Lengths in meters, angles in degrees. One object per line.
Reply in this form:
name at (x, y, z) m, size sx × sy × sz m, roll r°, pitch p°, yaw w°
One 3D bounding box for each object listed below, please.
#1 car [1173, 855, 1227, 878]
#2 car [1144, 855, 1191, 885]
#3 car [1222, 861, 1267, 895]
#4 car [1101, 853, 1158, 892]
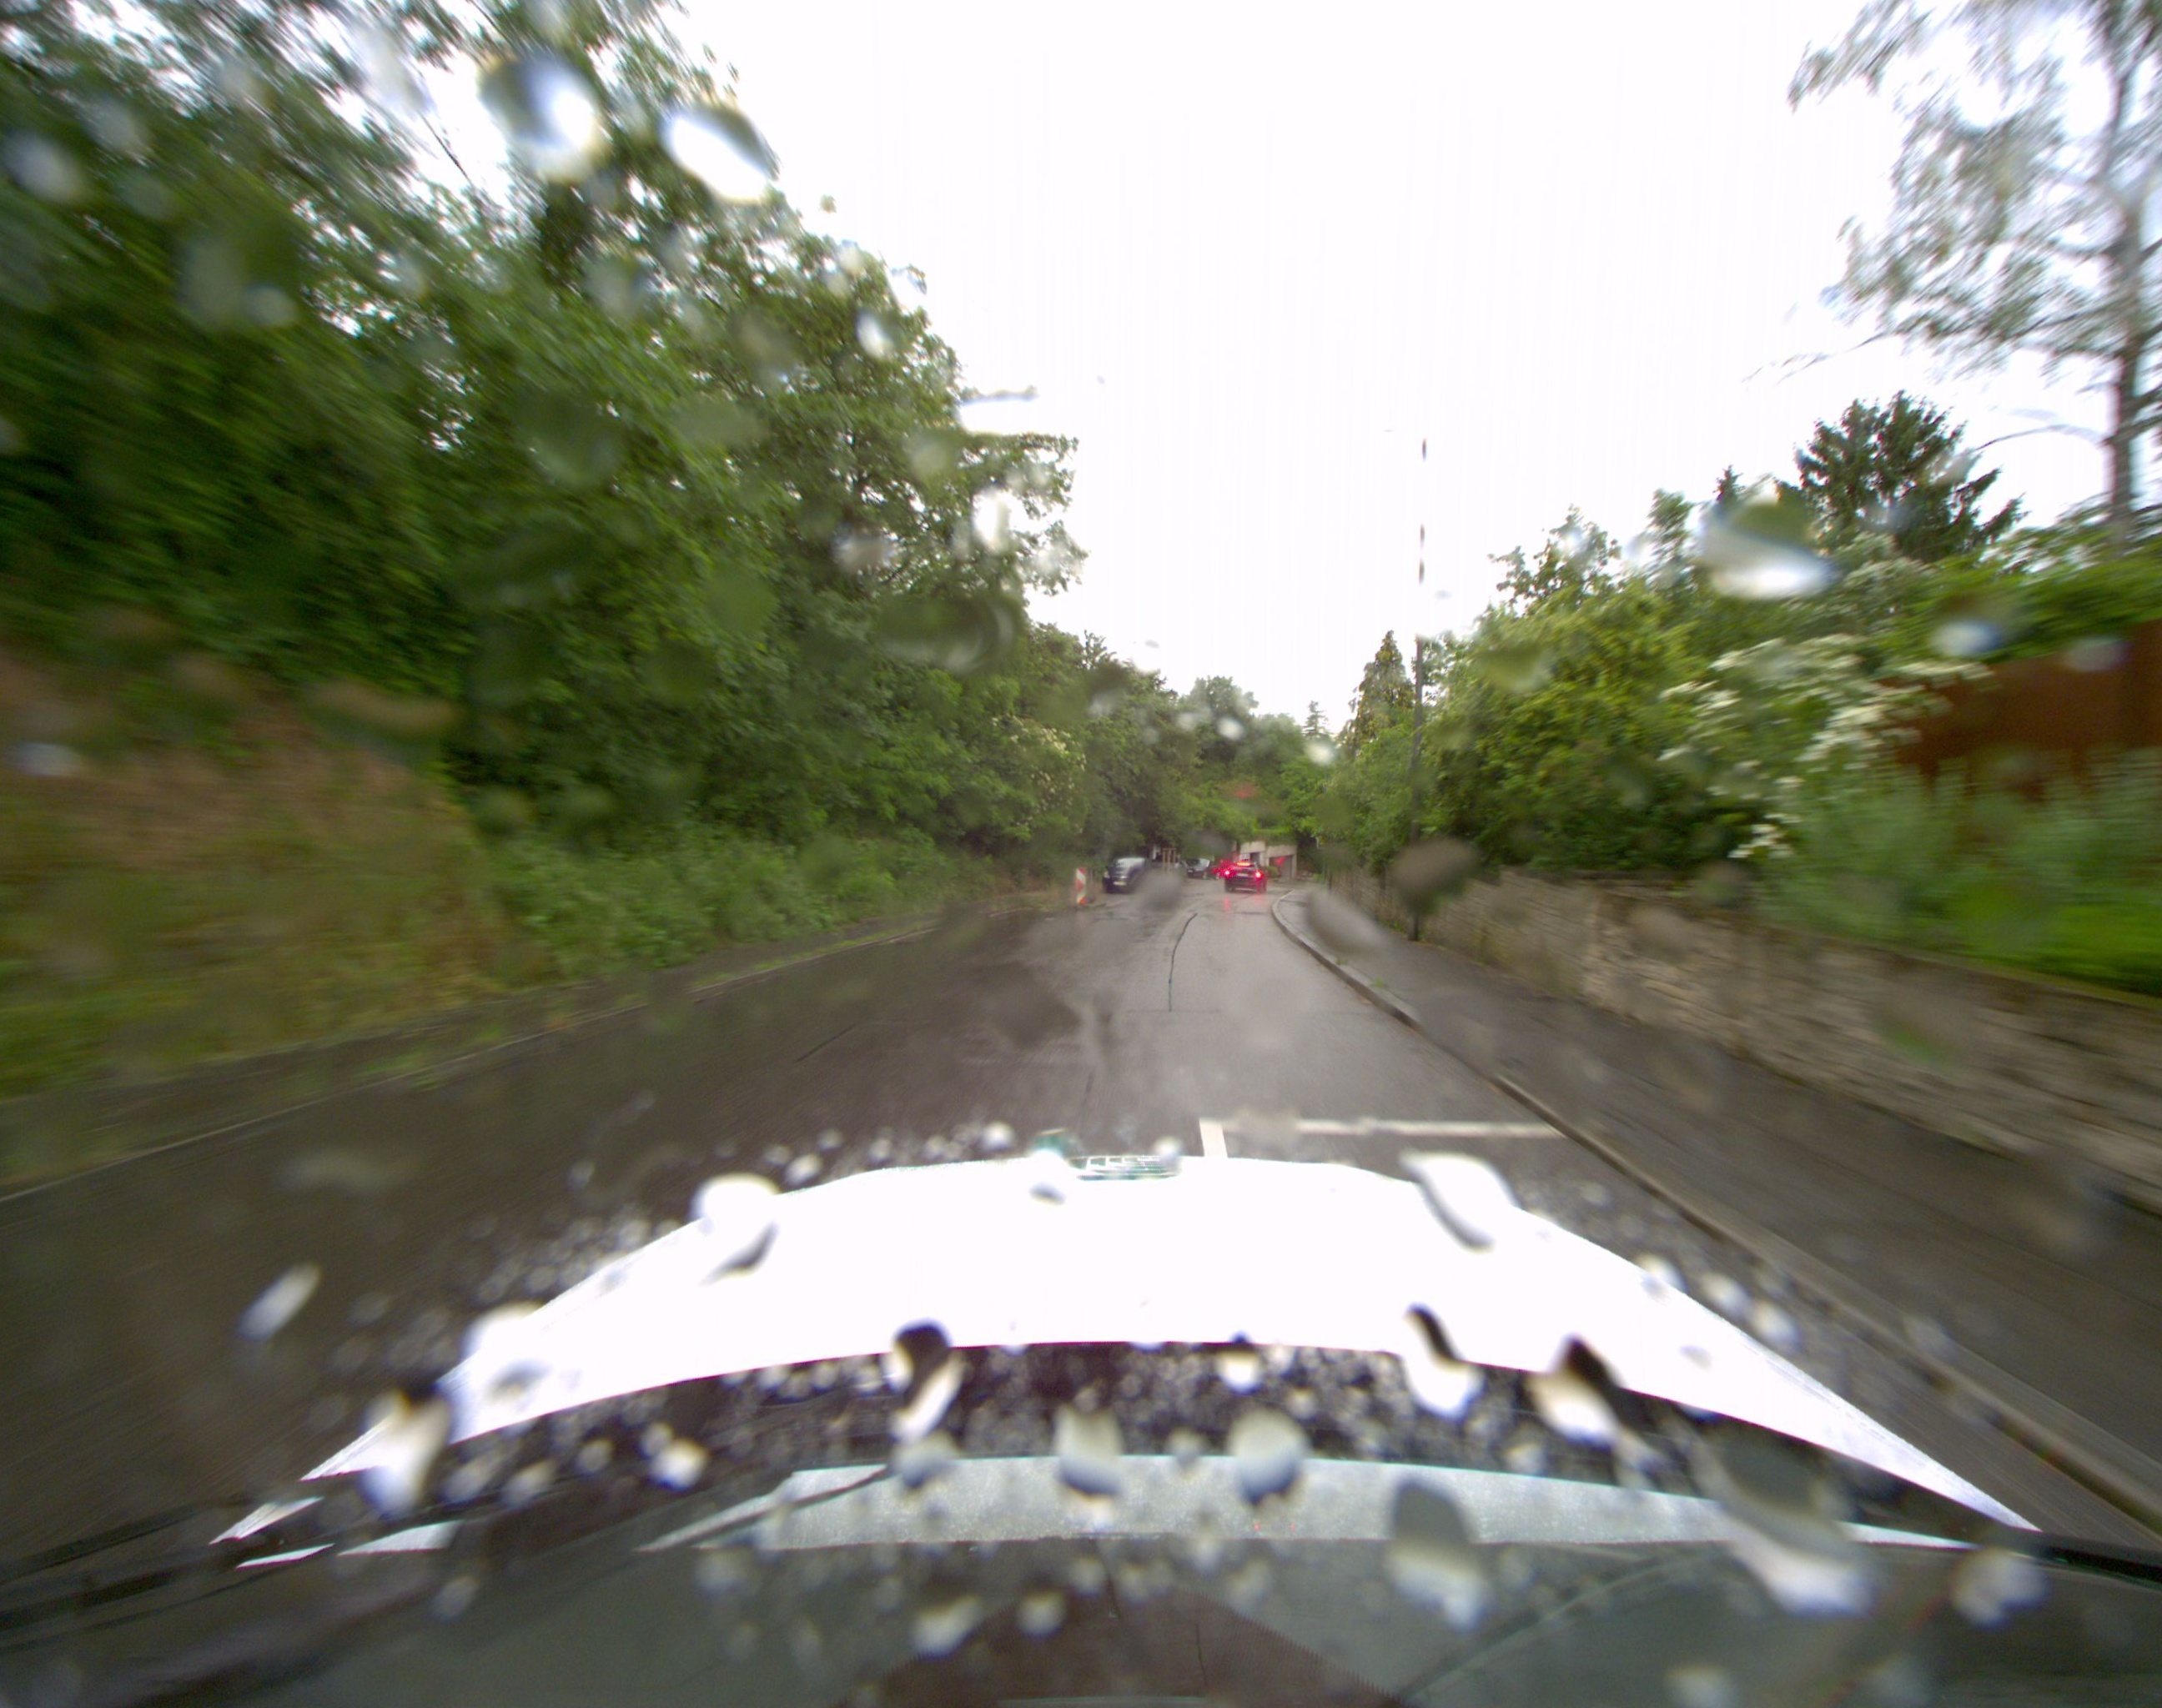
car at (8.385, 0.856, 56.951) m, size 1.974 × 1.508 × 4.599 m, roll 1°, pitch 0°, yaw 33°
car at (5.115, 0.918, 47.730) m, size 1.978 × 1.640 × 4.017 m, roll 2°, pitch 0°, yaw 16°
car at (7.935, 1.118, 39.265) m, size 1.855 × 1.512 × 4.109 m, roll 0°, pitch 0°, yaw 15°
car at (2.064, 0.730, 33.748) m, size 1.688 × 1.471 × 4.014 m, roll 2°, pitch 0°, yaw 13°
